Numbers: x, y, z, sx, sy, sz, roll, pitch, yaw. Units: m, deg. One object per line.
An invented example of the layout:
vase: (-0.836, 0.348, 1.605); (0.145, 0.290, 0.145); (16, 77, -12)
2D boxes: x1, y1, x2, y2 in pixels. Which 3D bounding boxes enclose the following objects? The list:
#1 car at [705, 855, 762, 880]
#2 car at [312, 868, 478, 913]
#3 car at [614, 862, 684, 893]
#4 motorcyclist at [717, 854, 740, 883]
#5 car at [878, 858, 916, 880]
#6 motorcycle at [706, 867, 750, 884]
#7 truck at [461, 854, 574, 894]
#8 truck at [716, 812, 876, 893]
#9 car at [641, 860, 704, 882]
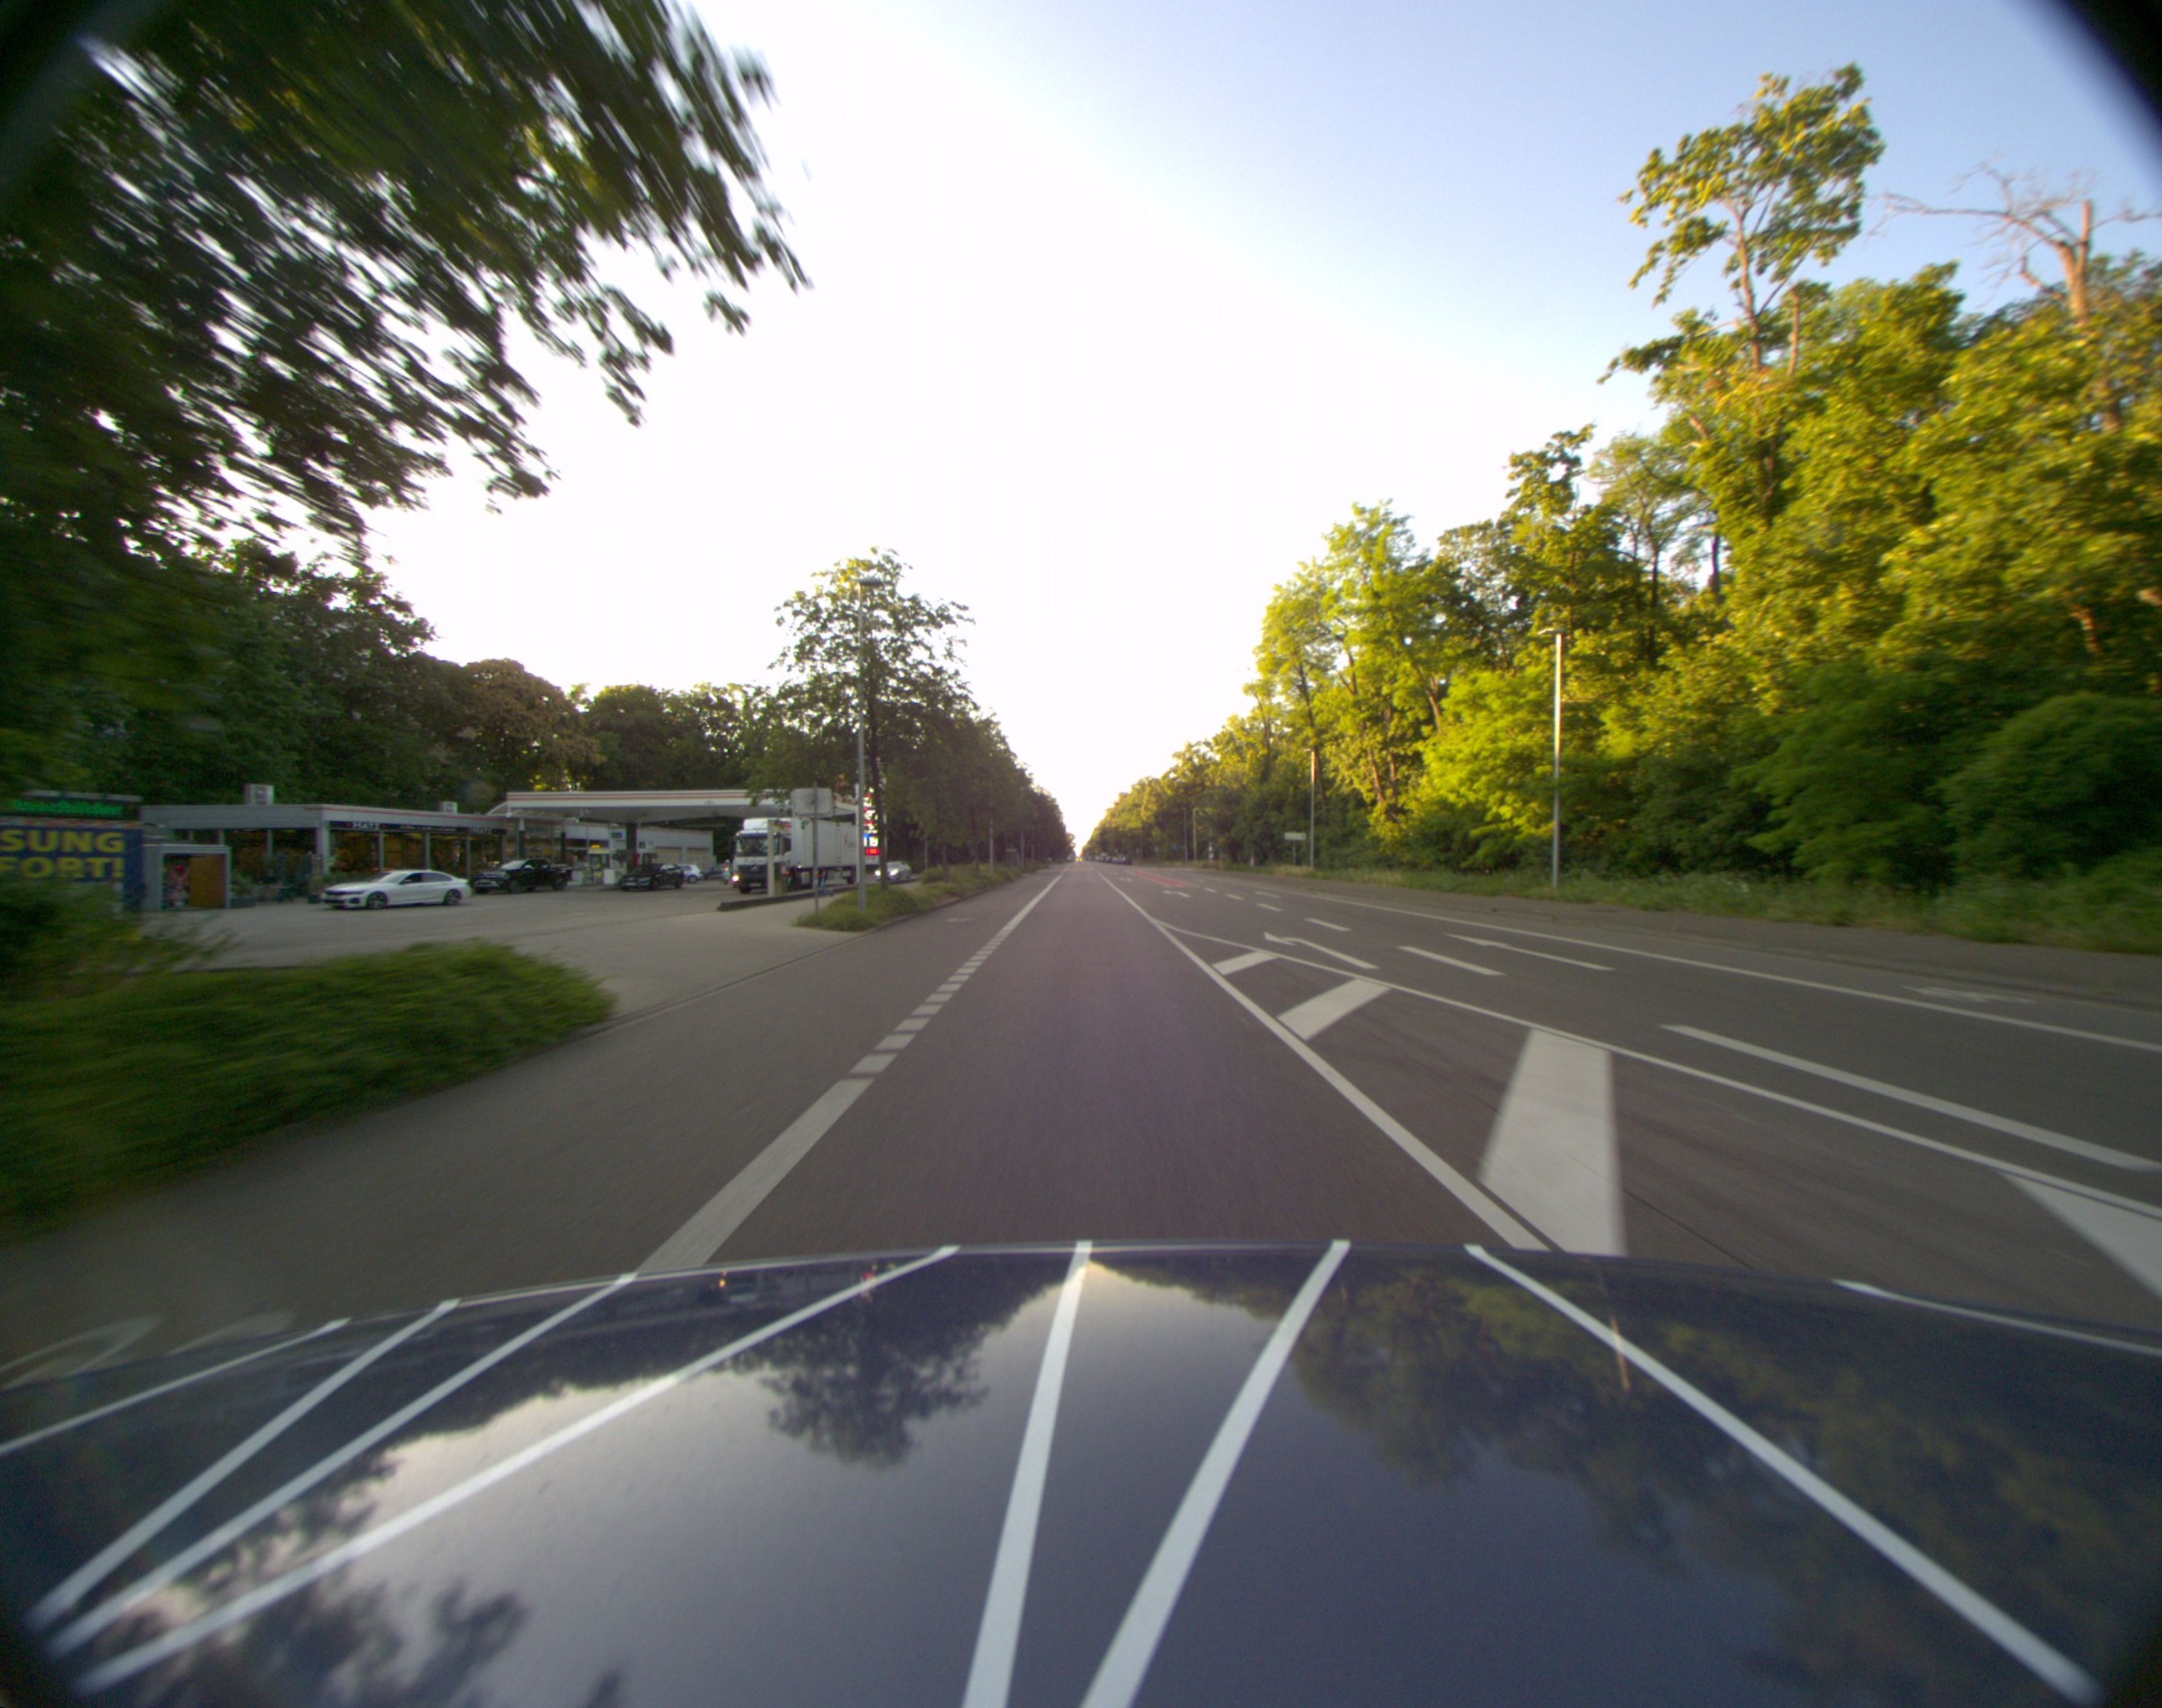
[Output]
car: (-29.093, 1.129, 63.710); (4.001, 2.002, 1.831); (0, 0, -11)
car: (-26.631, 1.357, 29.761); (1.729, 1.406, 4.737); (2, 1, 11)
car: (-23.620, 1.247, 41.708); (1.673, 1.499, 3.999); (-2, 0, -3)
motorcyclist: (-24.802, 0.994, 53.417); (1.009, 2.002, 1.075); (-2, 1, 0)
car: (-14.625, 1.151, 60.582); (1.999, 1.581, 4.709); (-2, 0, -2)
motorcycle: (-24.772, 1.517, 53.465); (1.137, 1.018, 4.000); (-2, 0, 0)
truck: (-29.774, 0.989, 40.413); (1.998, 1.930, 5.204); (-2, 0, 1)
truck: (-15.378, -0.097, 43.256); (3.227, 3.707, 15.883); (-1, 0, -1)
car: (-30.072, 1.268, 56.055); (4.007, 1.514, 1.996); (1, -2, -28)
